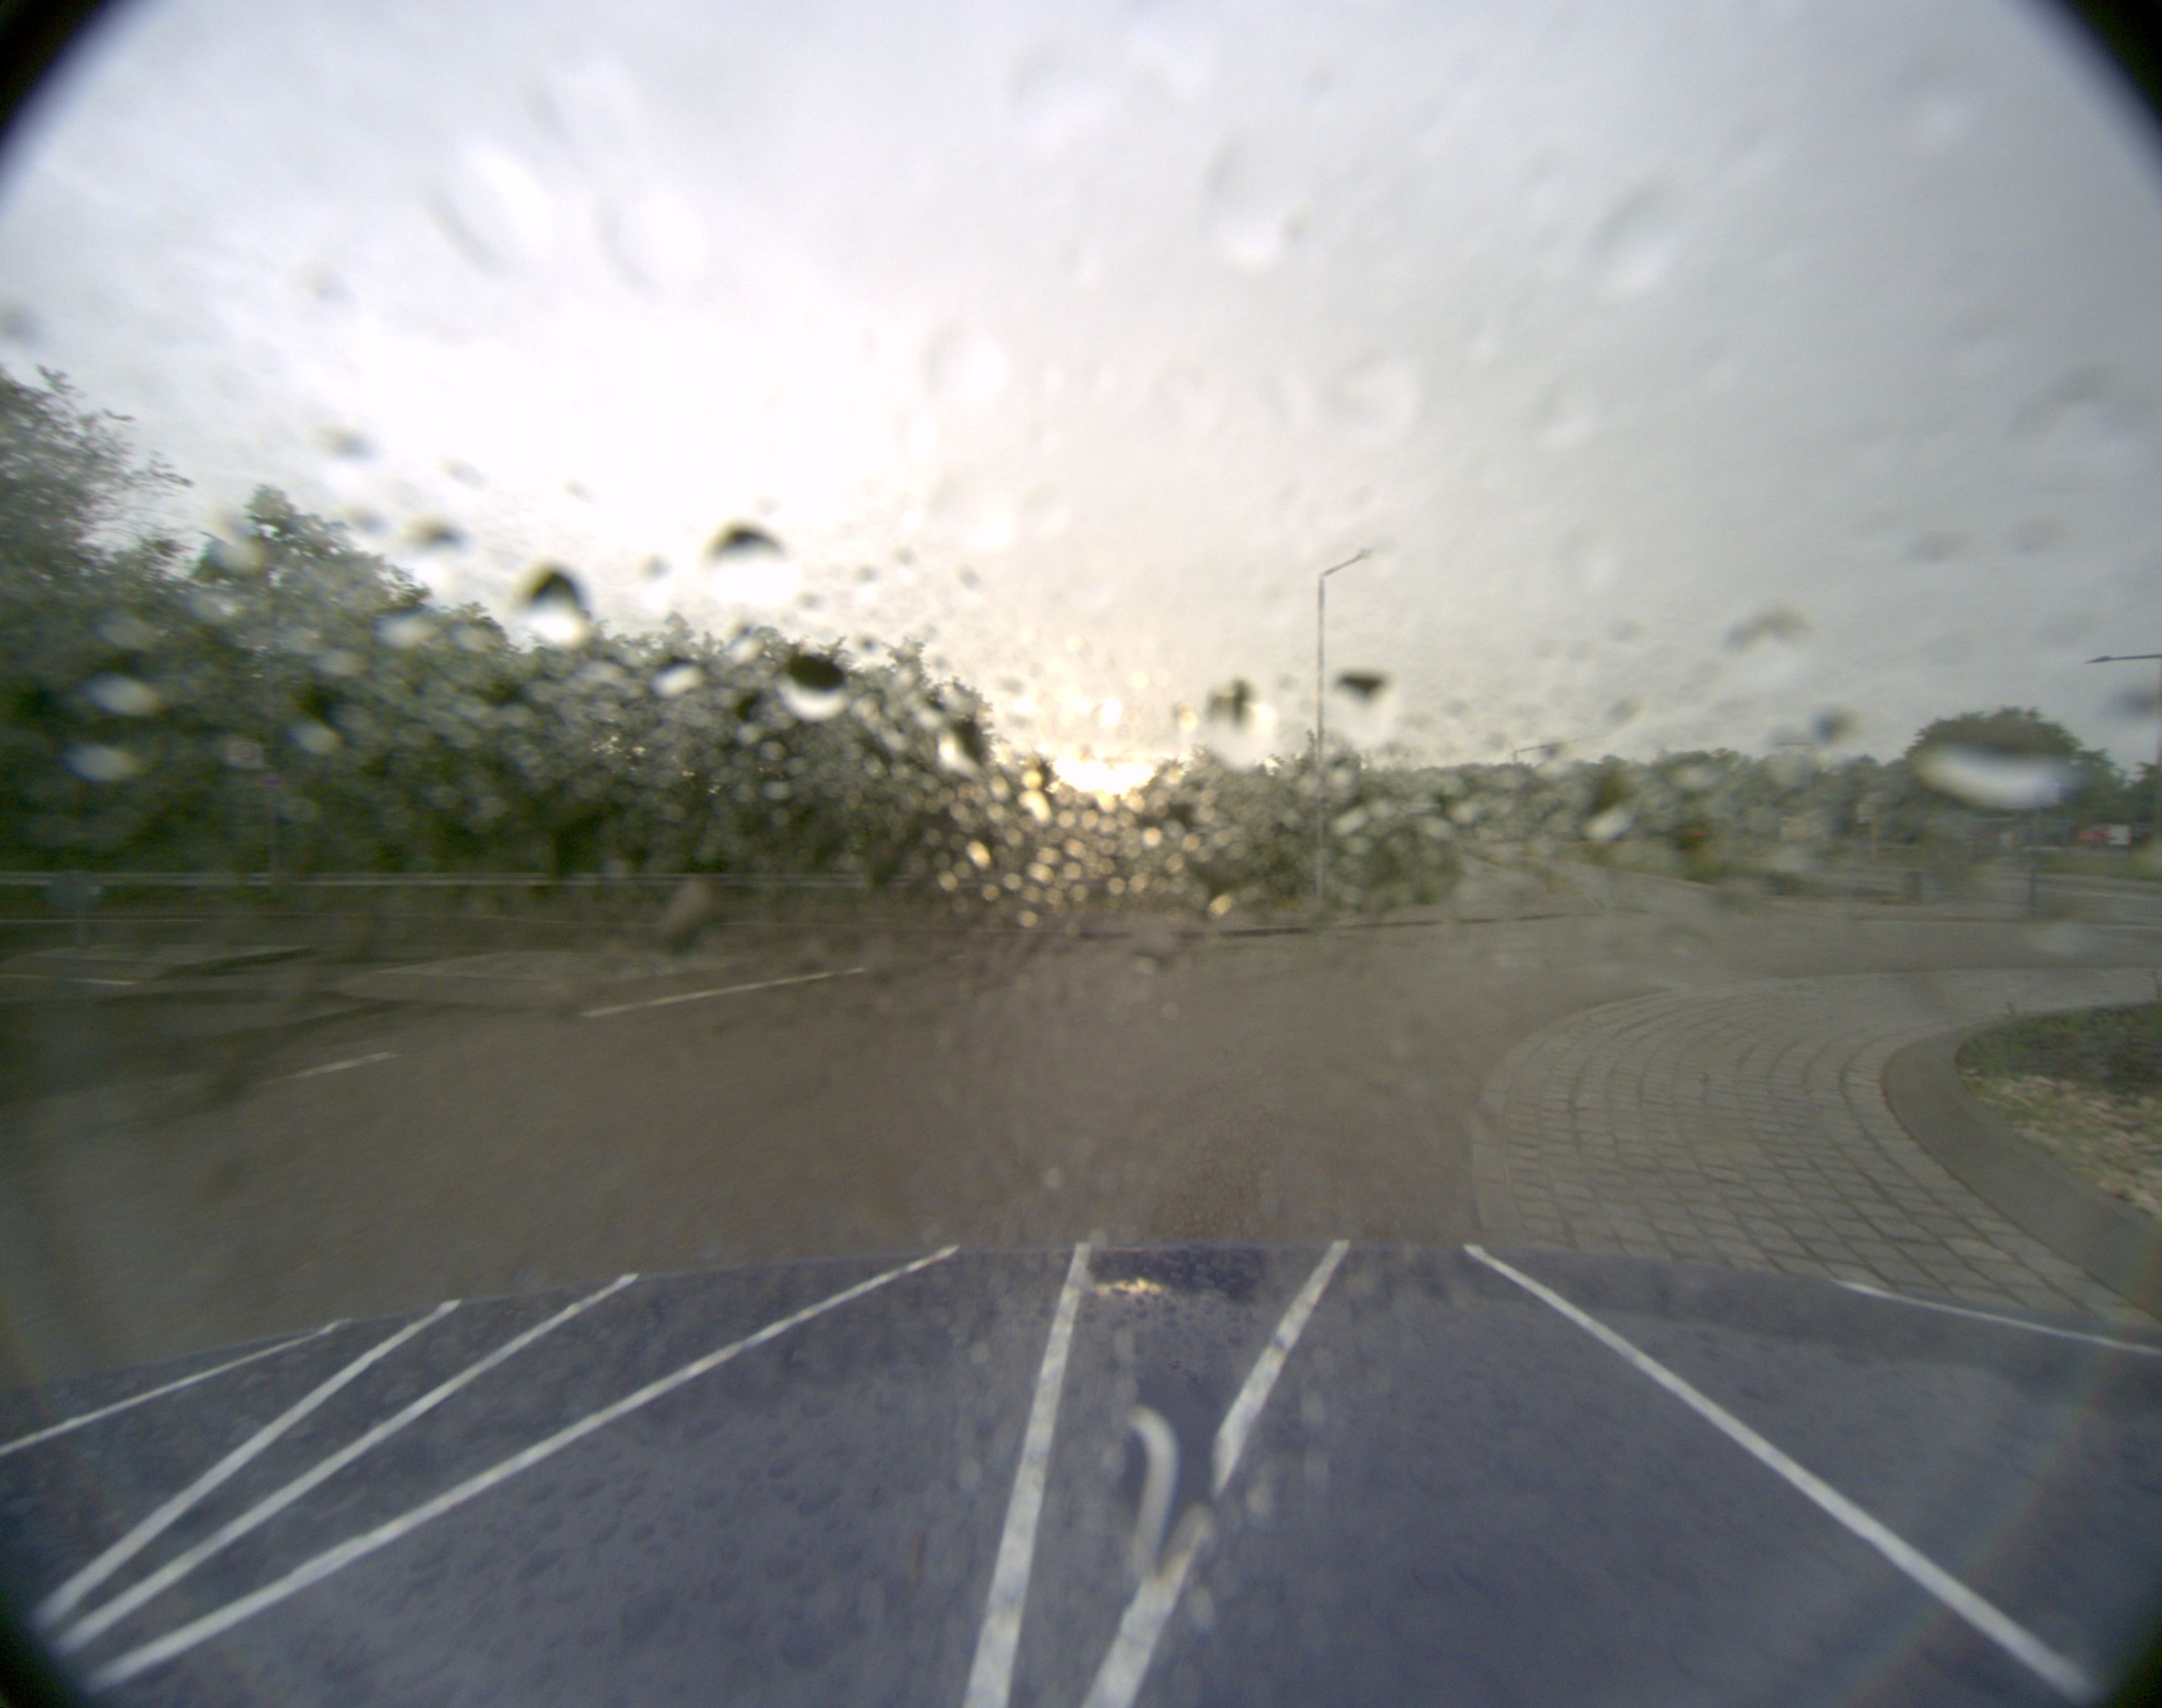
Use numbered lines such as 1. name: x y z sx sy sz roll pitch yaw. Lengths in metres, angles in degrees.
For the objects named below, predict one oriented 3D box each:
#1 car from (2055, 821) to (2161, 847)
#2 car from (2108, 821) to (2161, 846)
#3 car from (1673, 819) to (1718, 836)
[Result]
1. car: 60.319 -1.175 44.321 3.992 1.461 1.849 0 2 15
2. car: 58.966 -1.122 40.943 3.992 1.356 1.849 0 2 17
3. car: 61.547 -2.651 76.194 1.694 1.559 4.546 -3 0 14
